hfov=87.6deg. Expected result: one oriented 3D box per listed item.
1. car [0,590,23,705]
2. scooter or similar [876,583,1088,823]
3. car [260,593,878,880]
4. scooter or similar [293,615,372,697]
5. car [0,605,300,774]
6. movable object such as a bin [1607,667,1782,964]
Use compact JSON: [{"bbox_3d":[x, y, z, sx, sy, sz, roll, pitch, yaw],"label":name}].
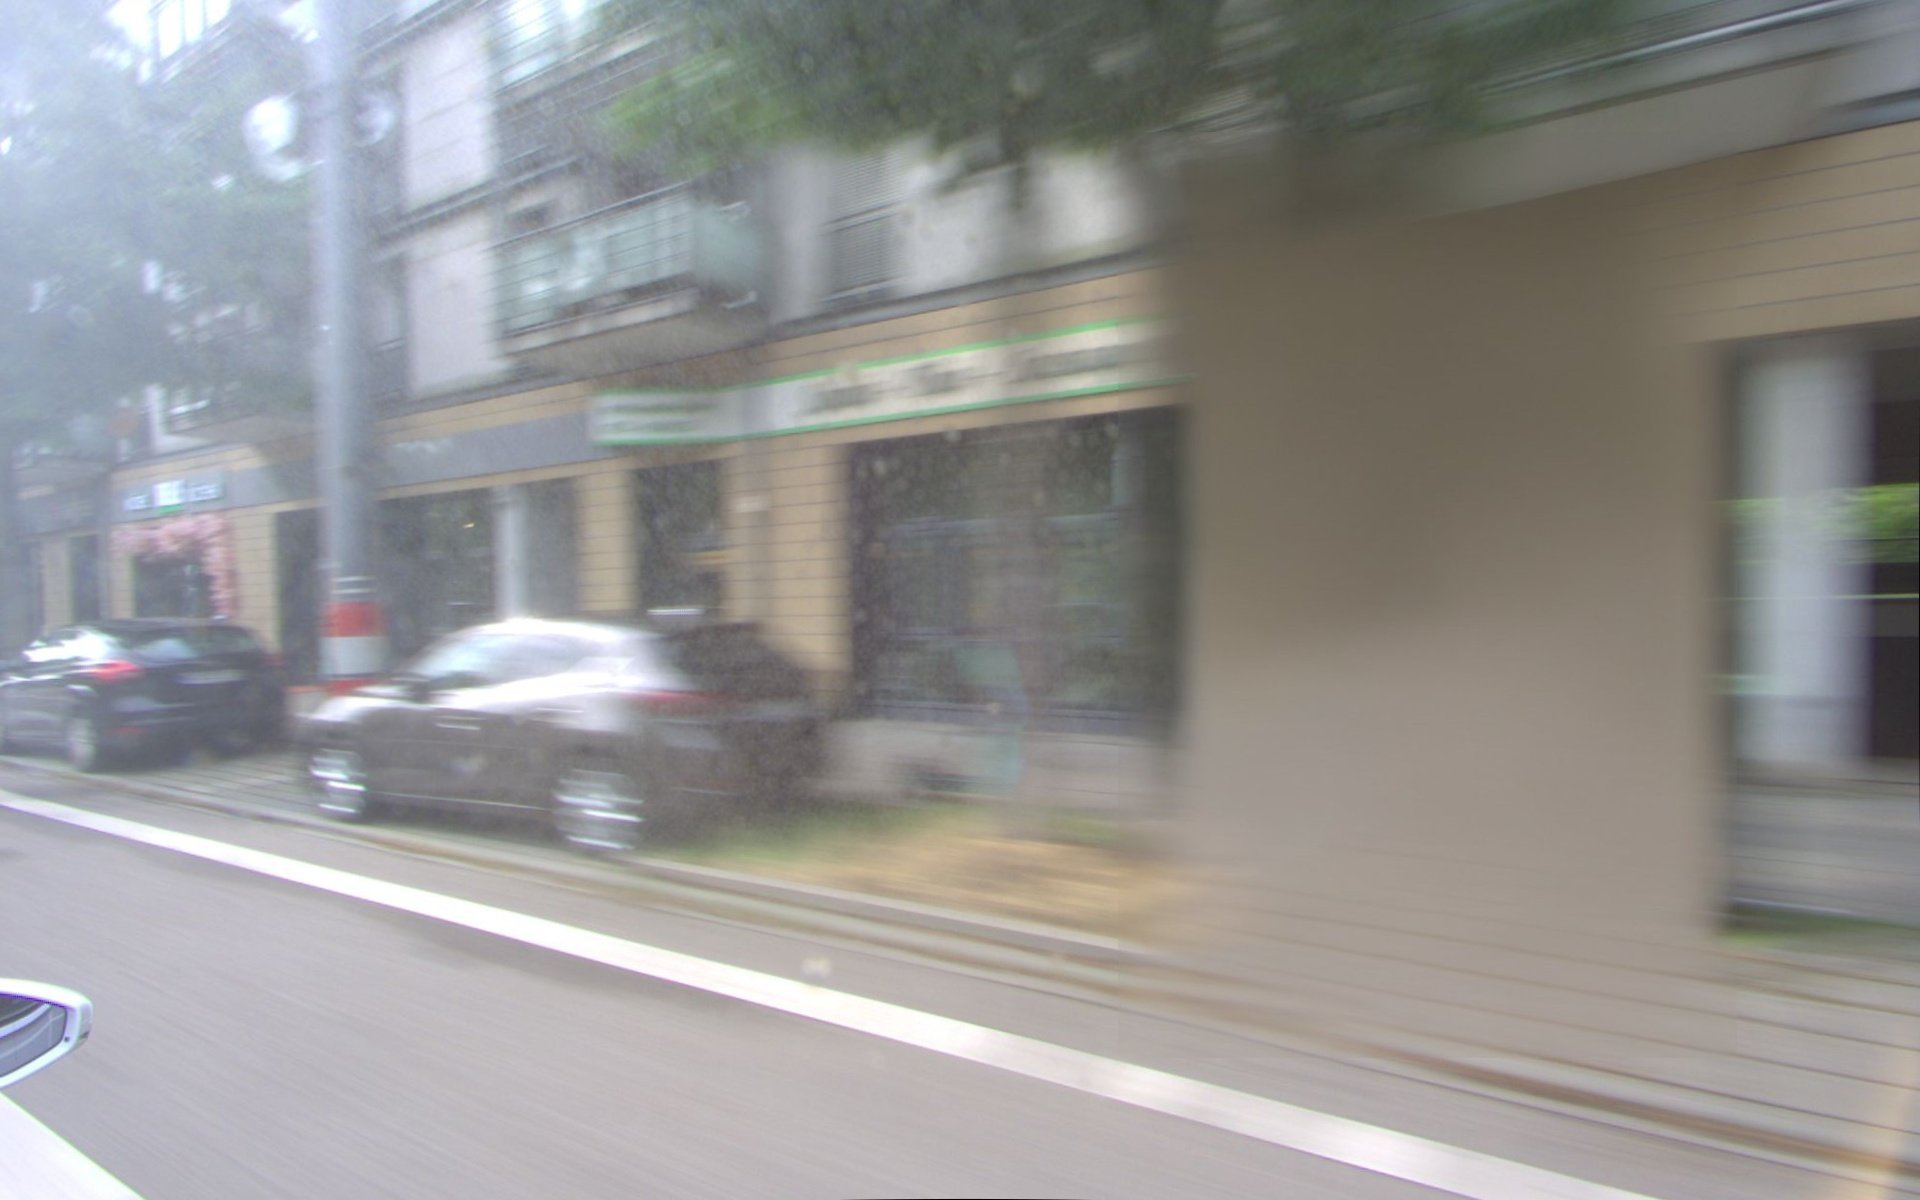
[{"bbox_3d":[-16.907,0.790,15.867,4.642,1.740,1.708,-1,2,31],"label":"car"},{"bbox_3d":[0.137,0.640,6.714,1.323,1.474,0.513,-1,2,32],"label":"scooter or similar"},{"bbox_3d":[-2.895,0.760,7.202,4.323,1.475,1.794,-1,2,30],"label":"car"},{"bbox_3d":[-9.782,0.853,15.599,1.197,1.217,0.515,-1,3,32],"label":"scooter or similar"},{"bbox_3d":[-9.204,0.844,10.970,4.346,1.461,1.671,-1,2,33],"label":"car"},{"bbox_3d":[3.091,0.851,4.268,0.533,1.068,0.760,0,1,32],"label":"movable object such as a bin"}]
